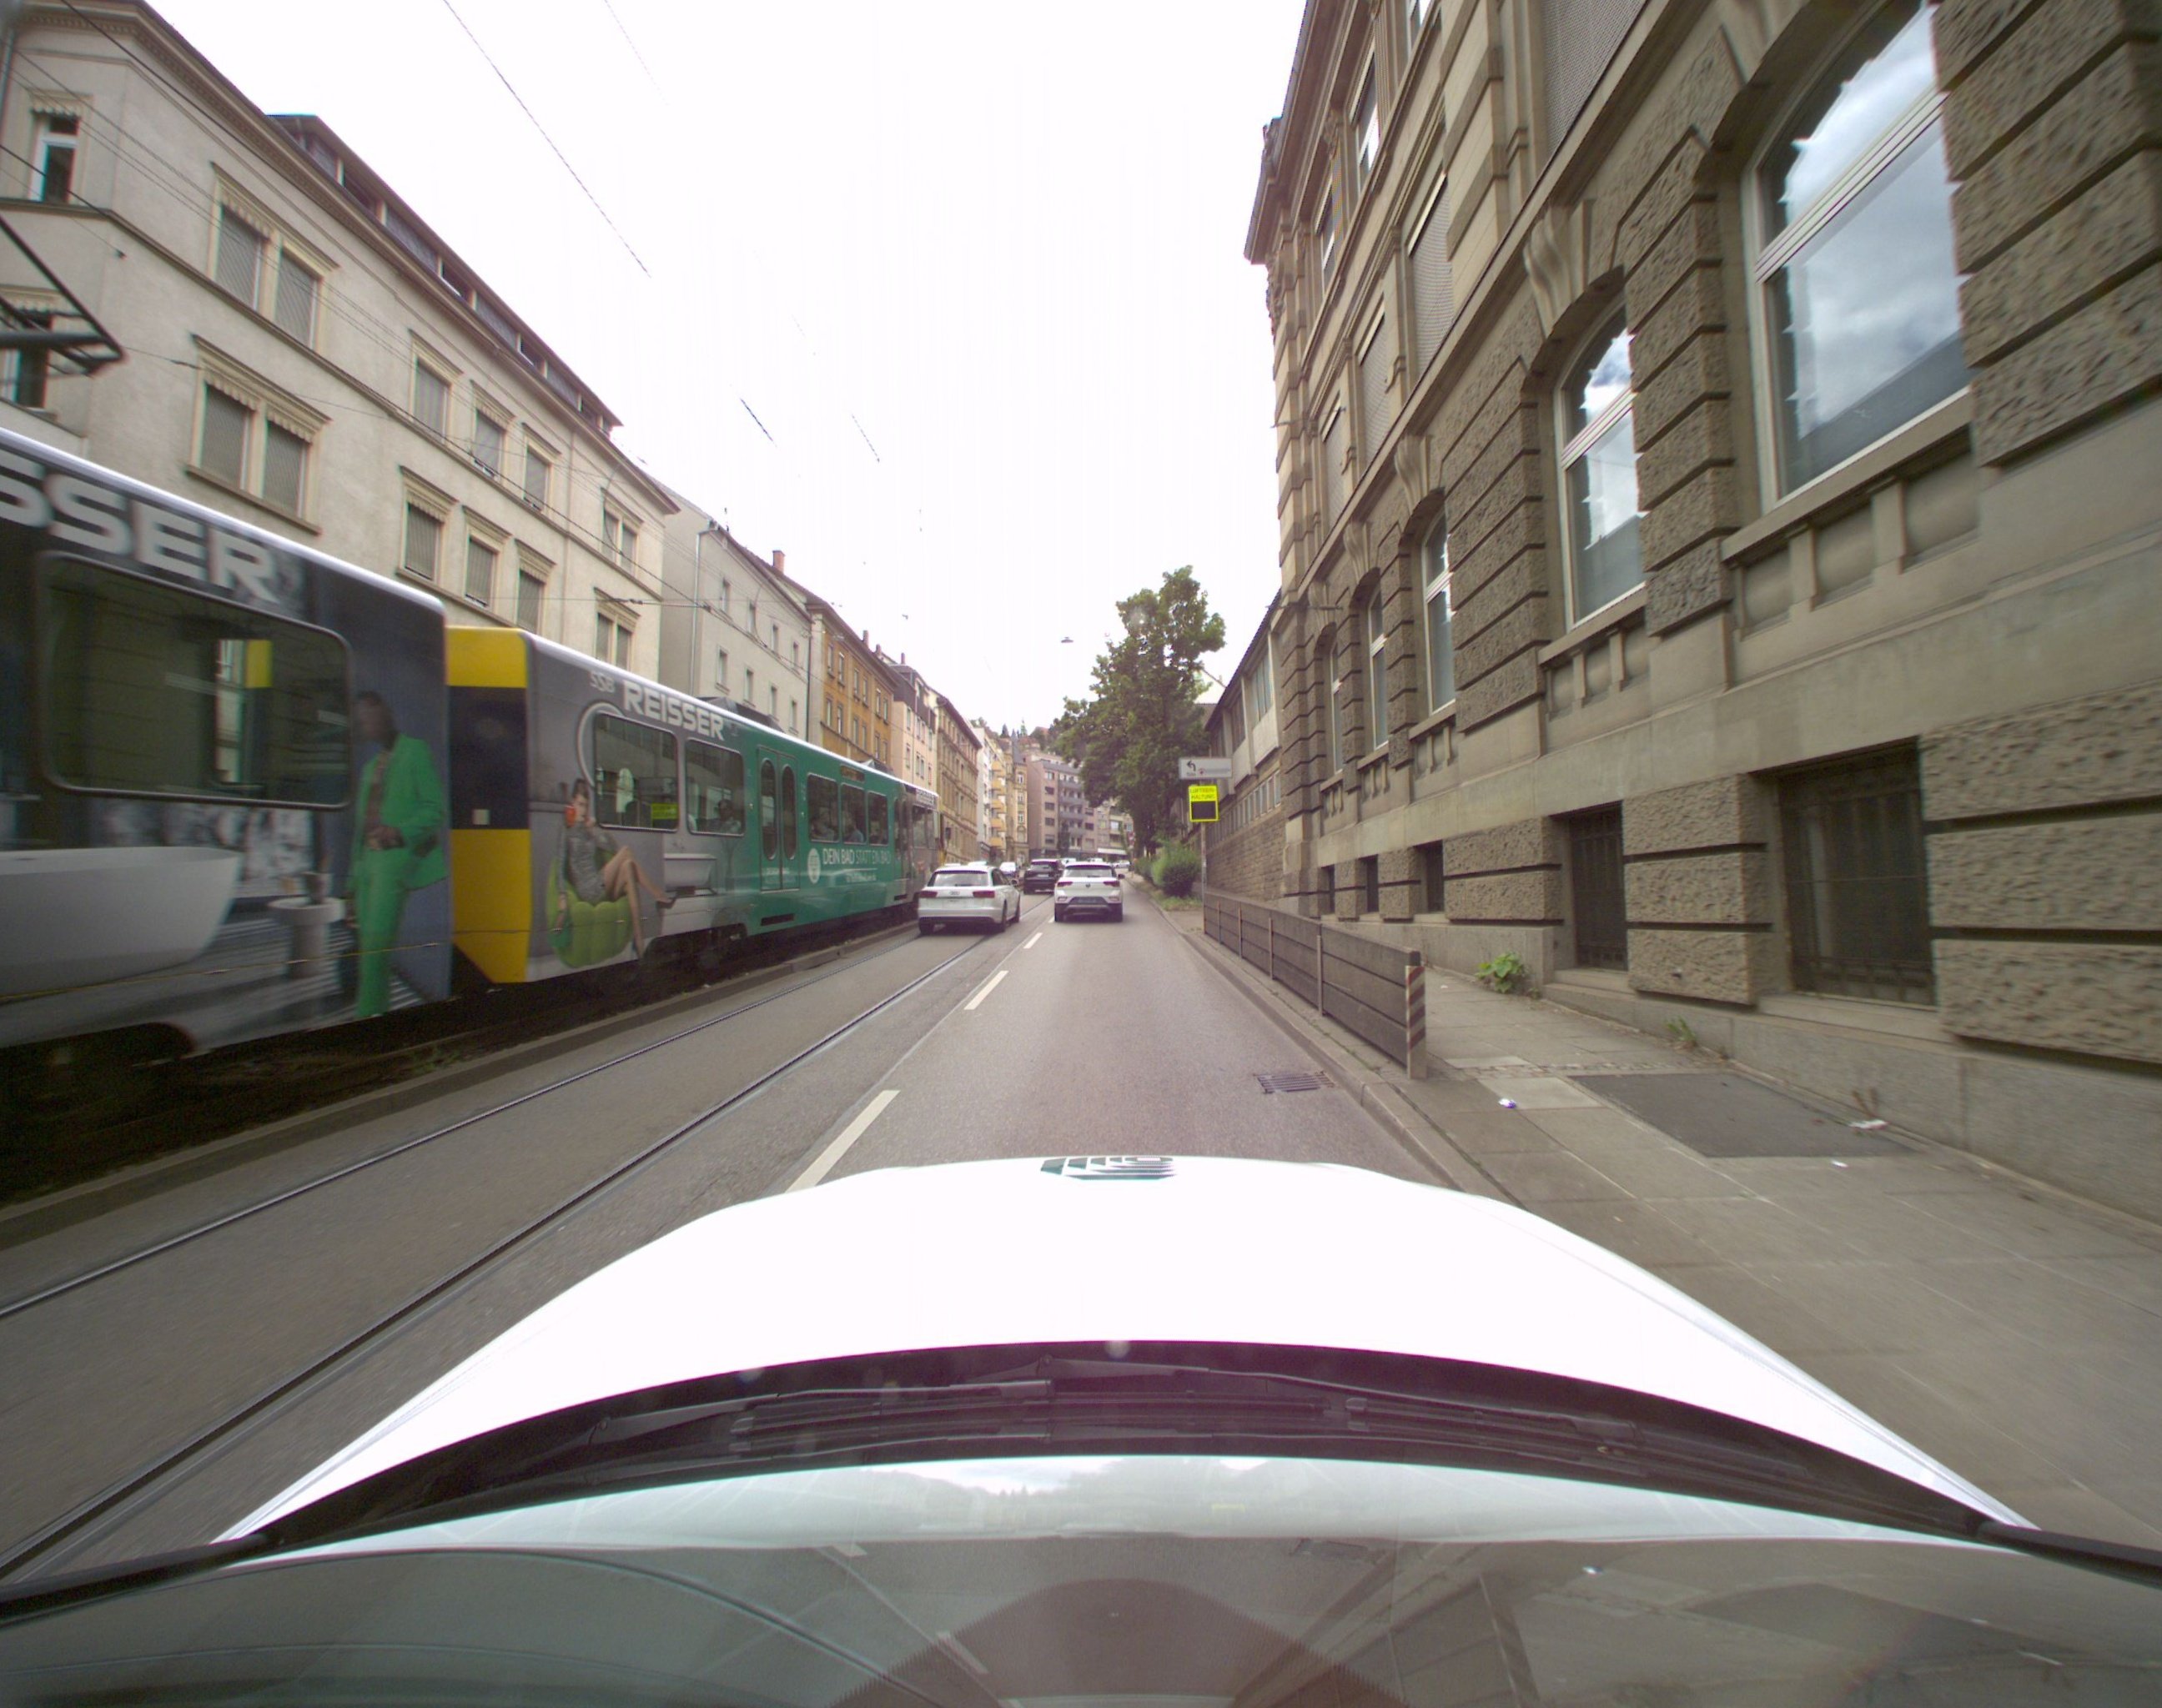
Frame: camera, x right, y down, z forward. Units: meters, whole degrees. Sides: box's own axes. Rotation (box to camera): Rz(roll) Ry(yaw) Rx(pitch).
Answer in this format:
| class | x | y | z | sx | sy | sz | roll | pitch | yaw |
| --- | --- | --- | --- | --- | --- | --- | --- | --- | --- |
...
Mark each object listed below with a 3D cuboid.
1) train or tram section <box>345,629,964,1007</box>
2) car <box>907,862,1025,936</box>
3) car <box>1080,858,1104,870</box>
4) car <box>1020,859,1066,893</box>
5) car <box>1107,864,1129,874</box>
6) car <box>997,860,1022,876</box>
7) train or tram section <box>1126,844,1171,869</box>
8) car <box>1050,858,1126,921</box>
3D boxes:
| class | x | y | z | sx | sy | sz | roll | pitch | yaw |
| --- | --- | --- | --- | --- | --- | --- | --- | --- | --- |
| train or tram section | -5.603 | -0.303 | 17.522 | 2.865 | 3.726 | 18.762 | 1 | 0 | 2 |
| car | -2.503 | 0.973 | 18.897 | 1.871 | 1.455 | 4.619 | -1 | -1 | 2 |
| car | 2.001 | 1.842 | 149.634 | 1.974 | 2.035 | 4.731 | -1 | -1 | 40 |
| car | -1.763 | 1.020 | 39.378 | 2.031 | 1.571 | 4.357 | 0 | 0 | 0 |
| car | 7.123 | 2.801 | 154.893 | 1.885 | 1.922 | 4.463 | -1 | -1 | 40 |
| car | -6.751 | 1.311 | 77.053 | 1.836 | 1.455 | 4.662 | 0 | -1 | 1 |
| train or tram section | 12.516 | 0.514 | 147.767 | 2.991 | 4.214 | 18.956 | -1 | -1 | 21 |
| car | 0.177 | 0.914 | 22.281 | 1.873 | 1.555 | 3.999 | 0 | -1 | 0 |
